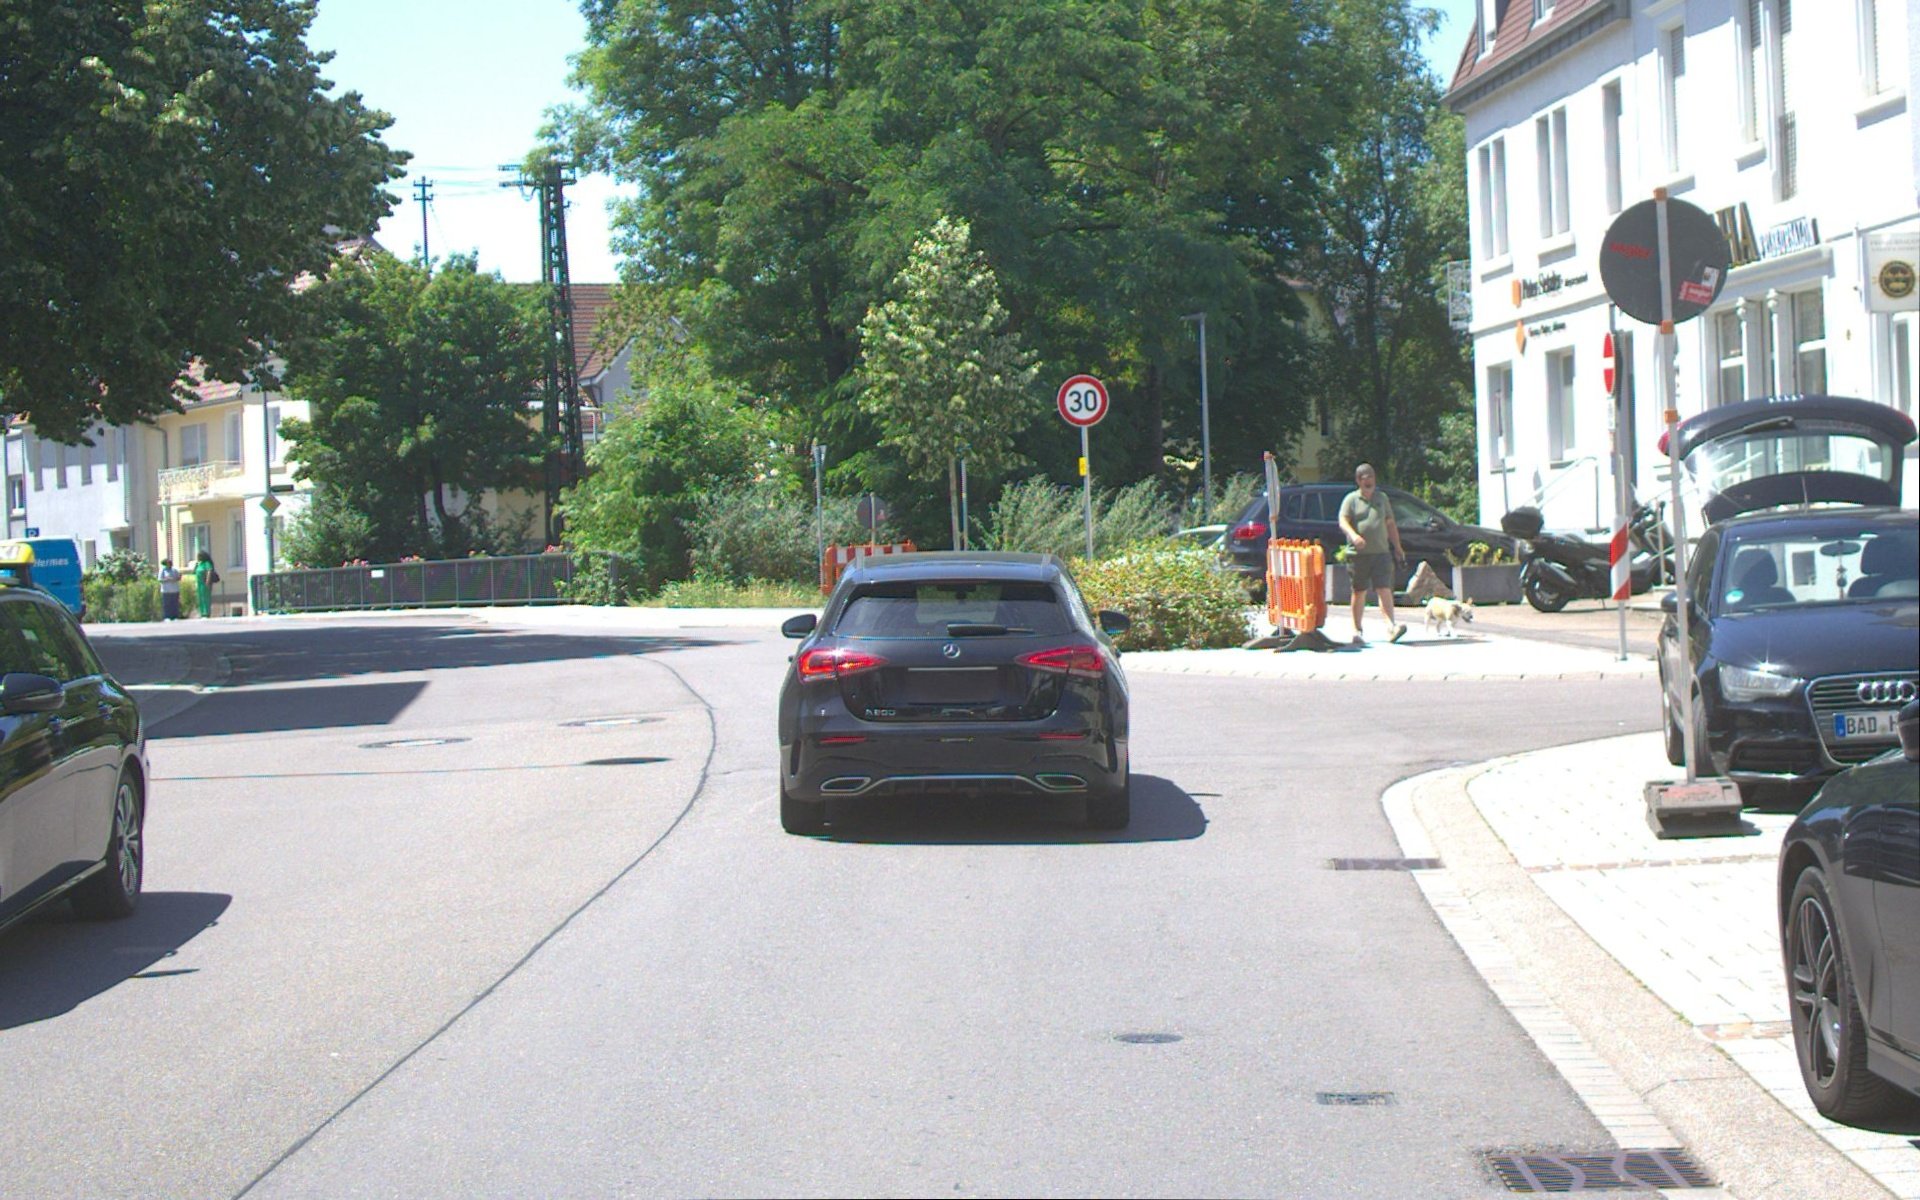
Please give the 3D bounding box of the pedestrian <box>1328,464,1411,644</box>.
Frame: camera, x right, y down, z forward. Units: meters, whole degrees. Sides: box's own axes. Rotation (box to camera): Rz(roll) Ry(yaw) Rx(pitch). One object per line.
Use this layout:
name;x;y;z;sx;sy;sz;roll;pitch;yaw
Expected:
pedestrian;4.168;-0.478;35.033;0.746;1.790;0.844;-2;2;4

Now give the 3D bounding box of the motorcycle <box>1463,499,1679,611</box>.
motorcycle;7.266;-0.541;40.961;2.376;1.271;0.856;-1;1;-4

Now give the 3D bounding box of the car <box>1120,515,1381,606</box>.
car;4.866;-0.672;57.345;4.190;1.345;1.860;-1;5;-40

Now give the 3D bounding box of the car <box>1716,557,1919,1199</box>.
car;2.936;0.591;6.970;1.724;1.400;4.609;-3;1;0

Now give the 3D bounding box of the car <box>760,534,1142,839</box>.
car;-0.027;0.456;18.796;1.828;1.437;4.000;-2;-1;1

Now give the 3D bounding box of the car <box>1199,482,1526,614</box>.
car;5.389;-0.702;46.324;4.074;1.710;1.856;-1;0;-5

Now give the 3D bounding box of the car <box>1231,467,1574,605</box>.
car;5.673;-0.816;44.366;4.074;1.710;1.856;-1;0;-5

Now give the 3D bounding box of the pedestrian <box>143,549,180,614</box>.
pedestrian;-20.354;-0.466;87.605;0.614;1.607;0.837;-2;0;-34

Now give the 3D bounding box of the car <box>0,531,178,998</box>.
car;-4.303;0.560;12.863;1.893;1.548;4.800;-1;2;-3

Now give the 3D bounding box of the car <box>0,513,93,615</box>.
car;-24.339;-0.907;89.739;2.133;2.532;4.649;-2;0;-29

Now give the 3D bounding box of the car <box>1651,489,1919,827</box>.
car;4.698;0.211;18.170;1.873;1.486;3.860;-3;2;10

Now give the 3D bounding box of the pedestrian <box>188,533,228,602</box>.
pedestrian;-19.041;-0.825;87.049;0.701;1.735;0.661;-2;0;43
